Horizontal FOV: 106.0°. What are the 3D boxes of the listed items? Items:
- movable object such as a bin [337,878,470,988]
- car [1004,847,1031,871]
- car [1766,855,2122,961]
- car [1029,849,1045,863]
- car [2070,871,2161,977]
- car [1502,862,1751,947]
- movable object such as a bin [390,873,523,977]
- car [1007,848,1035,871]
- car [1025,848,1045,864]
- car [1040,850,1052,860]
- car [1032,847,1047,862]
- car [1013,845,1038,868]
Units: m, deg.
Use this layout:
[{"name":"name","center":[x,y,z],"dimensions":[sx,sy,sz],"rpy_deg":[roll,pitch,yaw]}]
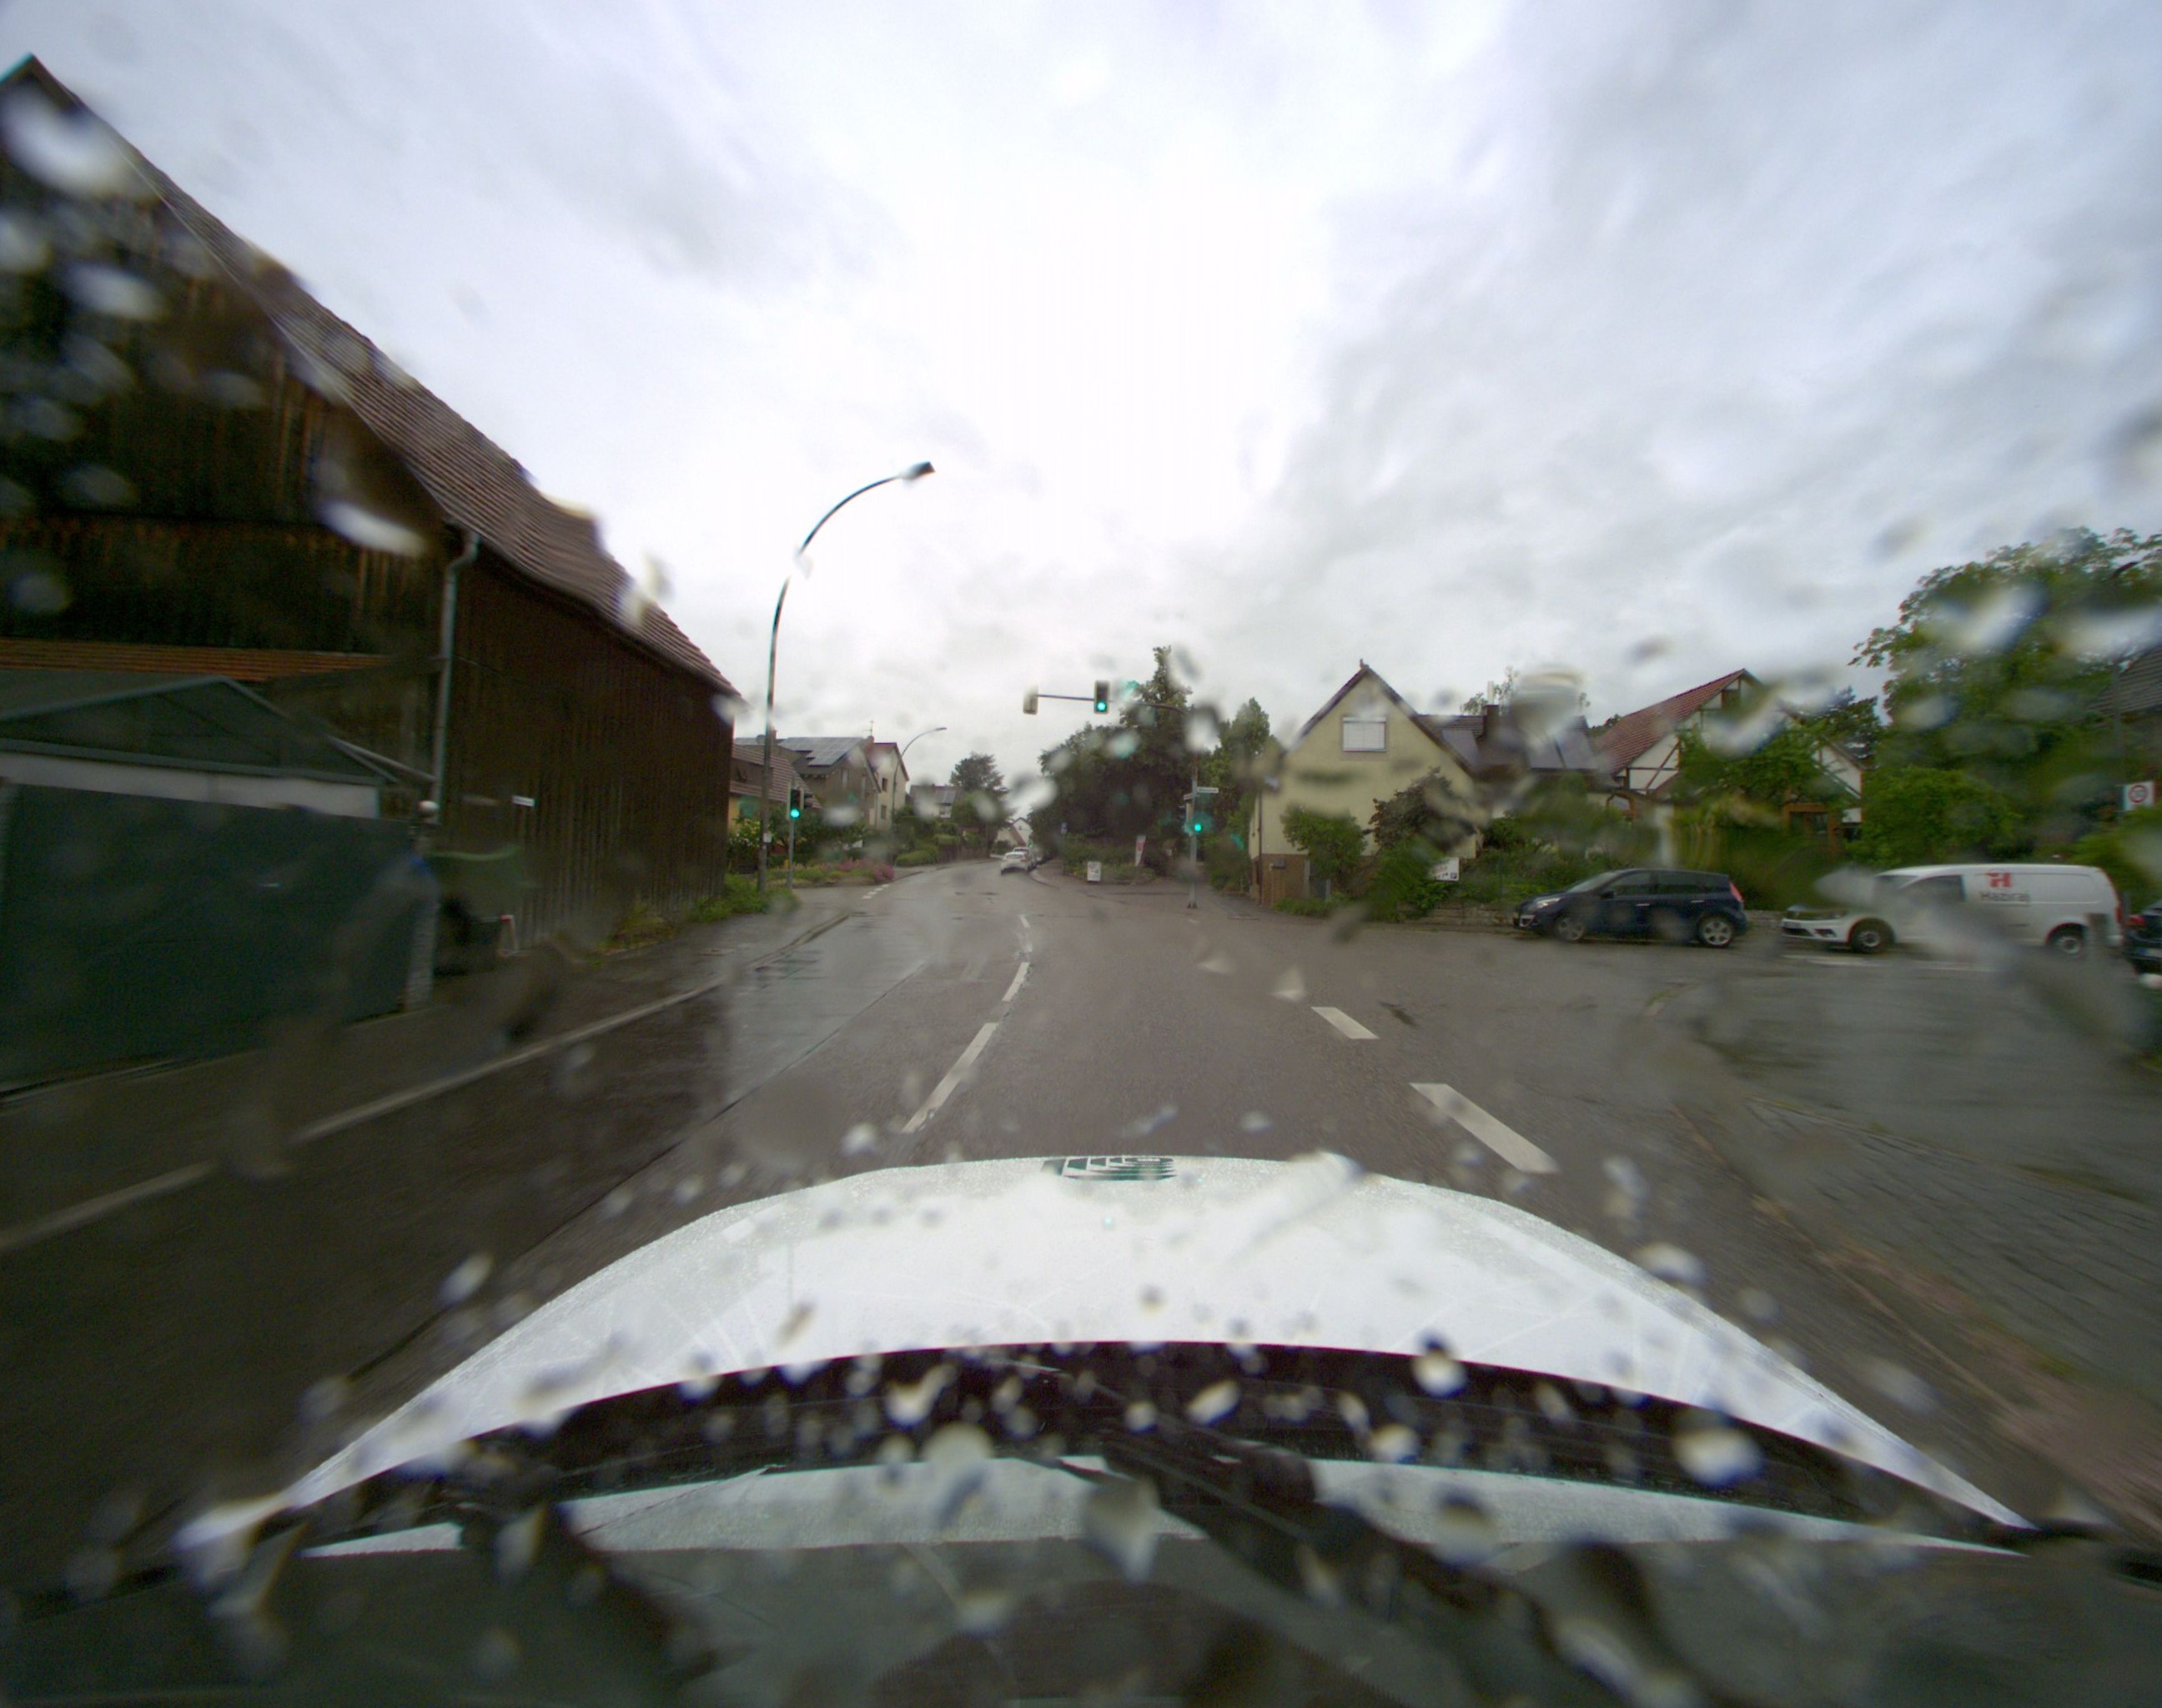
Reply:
[{"name":"movable object such as a bin","center":[-6.951,0.794,8.388],"dimensions":[0.815,1.061,0.596],"rpy_deg":[2,-1,-1]},{"name":"car","center":[-4.149,0.316,53.490],"dimensions":[1.608,1.480,4.034],"rpy_deg":[1,0,-3]},{"name":"car","center":[16.929,1.001,16.264],"dimensions":[4.650,1.804,1.810],"rpy_deg":[1,-1,14]},{"name":"car","center":[-4.940,0.235,92.304],"dimensions":[1.760,1.447,4.691],"rpy_deg":[1,0,-3]},{"name":"car","center":[16.326,0.988,10.830],"dimensions":[3.696,1.406,1.811],"rpy_deg":[1,-1,14]},{"name":"car","center":[11.632,1.040,17.670],"dimensions":[4.102,1.585,1.871],"rpy_deg":[1,-1,14]},{"name":"movable object such as a bin","center":[-6.922,0.770,9.063],"dimensions":[0.895,1.078,0.651],"rpy_deg":[2,-1,-1]},{"name":"car","center":[-4.295,0.376,58.622],"dimensions":[1.640,1.462,4.001],"rpy_deg":[2,1,0]},{"name":"car","center":[-4.809,0.198,86.188],"dimensions":[1.808,1.573,3.880],"rpy_deg":[1,0,1]},{"name":"car","center":[-4.865,0.093,112.473],"dimensions":[1.648,1.371,4.177],"rpy_deg":[1,0,-3]},{"name":"car","center":[-5.025,0.083,98.712],"dimensions":[1.738,1.668,4.493],"rpy_deg":[1,0,-3]},{"name":"car","center":[-4.377,0.180,64.389],"dimensions":[1.632,1.741,4.135],"rpy_deg":[1,0,0]}]
